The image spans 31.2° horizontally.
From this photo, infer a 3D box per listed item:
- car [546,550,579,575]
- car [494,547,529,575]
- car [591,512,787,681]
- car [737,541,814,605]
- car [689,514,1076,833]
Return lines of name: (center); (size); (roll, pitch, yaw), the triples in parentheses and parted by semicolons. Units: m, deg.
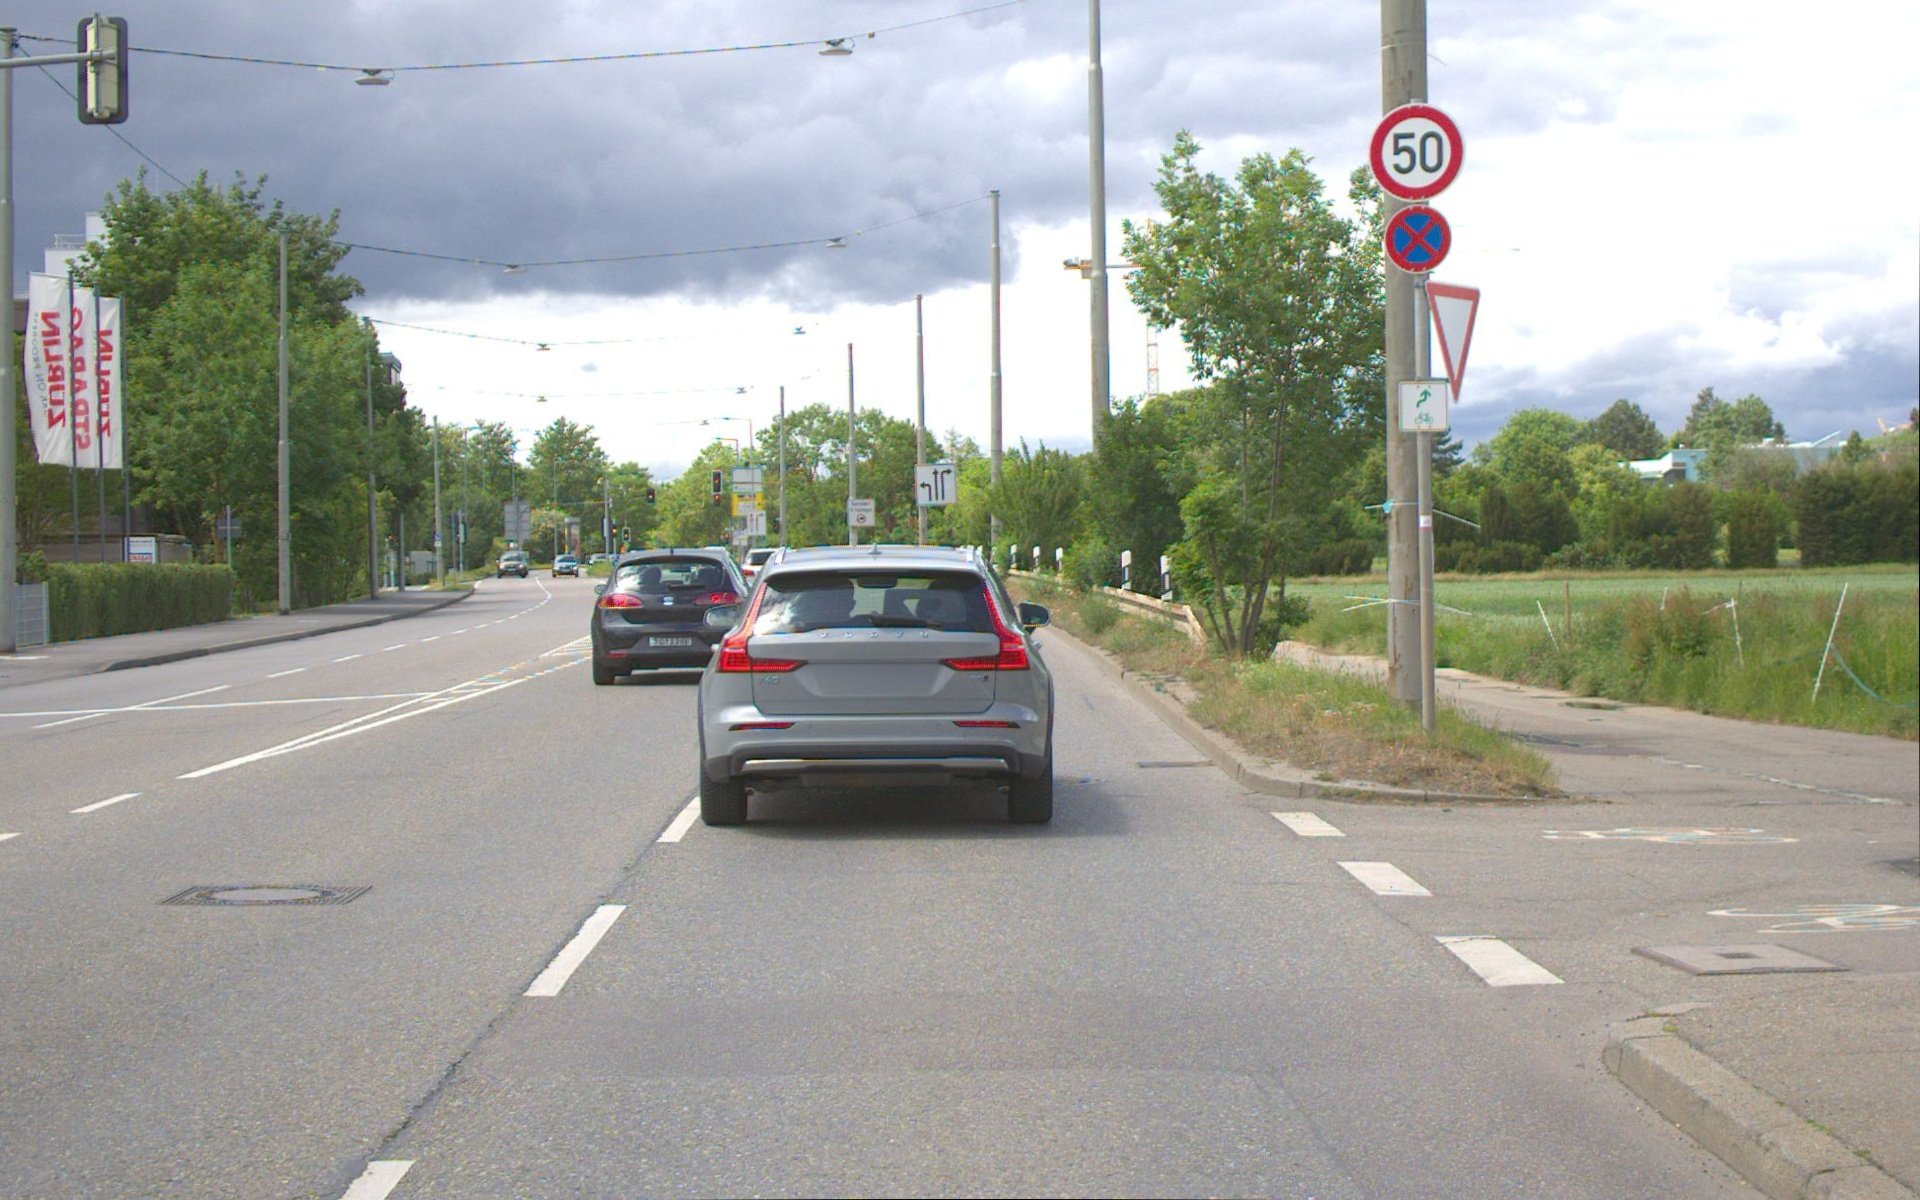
car: (-25.695, -2.411, 222.341); (1.881, 1.515, 4.000); (1, 0, -3)
car: (-29.186, -2.534, 223.679); (1.881, 1.711, 4.000); (1, 0, -3)
car: (-2.910, -0.043, 37.505); (1.993, 1.711, 4.000); (1, 0, -3)
car: (-5.045, -0.720, 94.258); (1.993, 1.689, 4.000); (1, 0, -2)
car: (-0.386, 0.363, 19.096); (1.895, 1.549, 4.000); (1, 0, 0)
